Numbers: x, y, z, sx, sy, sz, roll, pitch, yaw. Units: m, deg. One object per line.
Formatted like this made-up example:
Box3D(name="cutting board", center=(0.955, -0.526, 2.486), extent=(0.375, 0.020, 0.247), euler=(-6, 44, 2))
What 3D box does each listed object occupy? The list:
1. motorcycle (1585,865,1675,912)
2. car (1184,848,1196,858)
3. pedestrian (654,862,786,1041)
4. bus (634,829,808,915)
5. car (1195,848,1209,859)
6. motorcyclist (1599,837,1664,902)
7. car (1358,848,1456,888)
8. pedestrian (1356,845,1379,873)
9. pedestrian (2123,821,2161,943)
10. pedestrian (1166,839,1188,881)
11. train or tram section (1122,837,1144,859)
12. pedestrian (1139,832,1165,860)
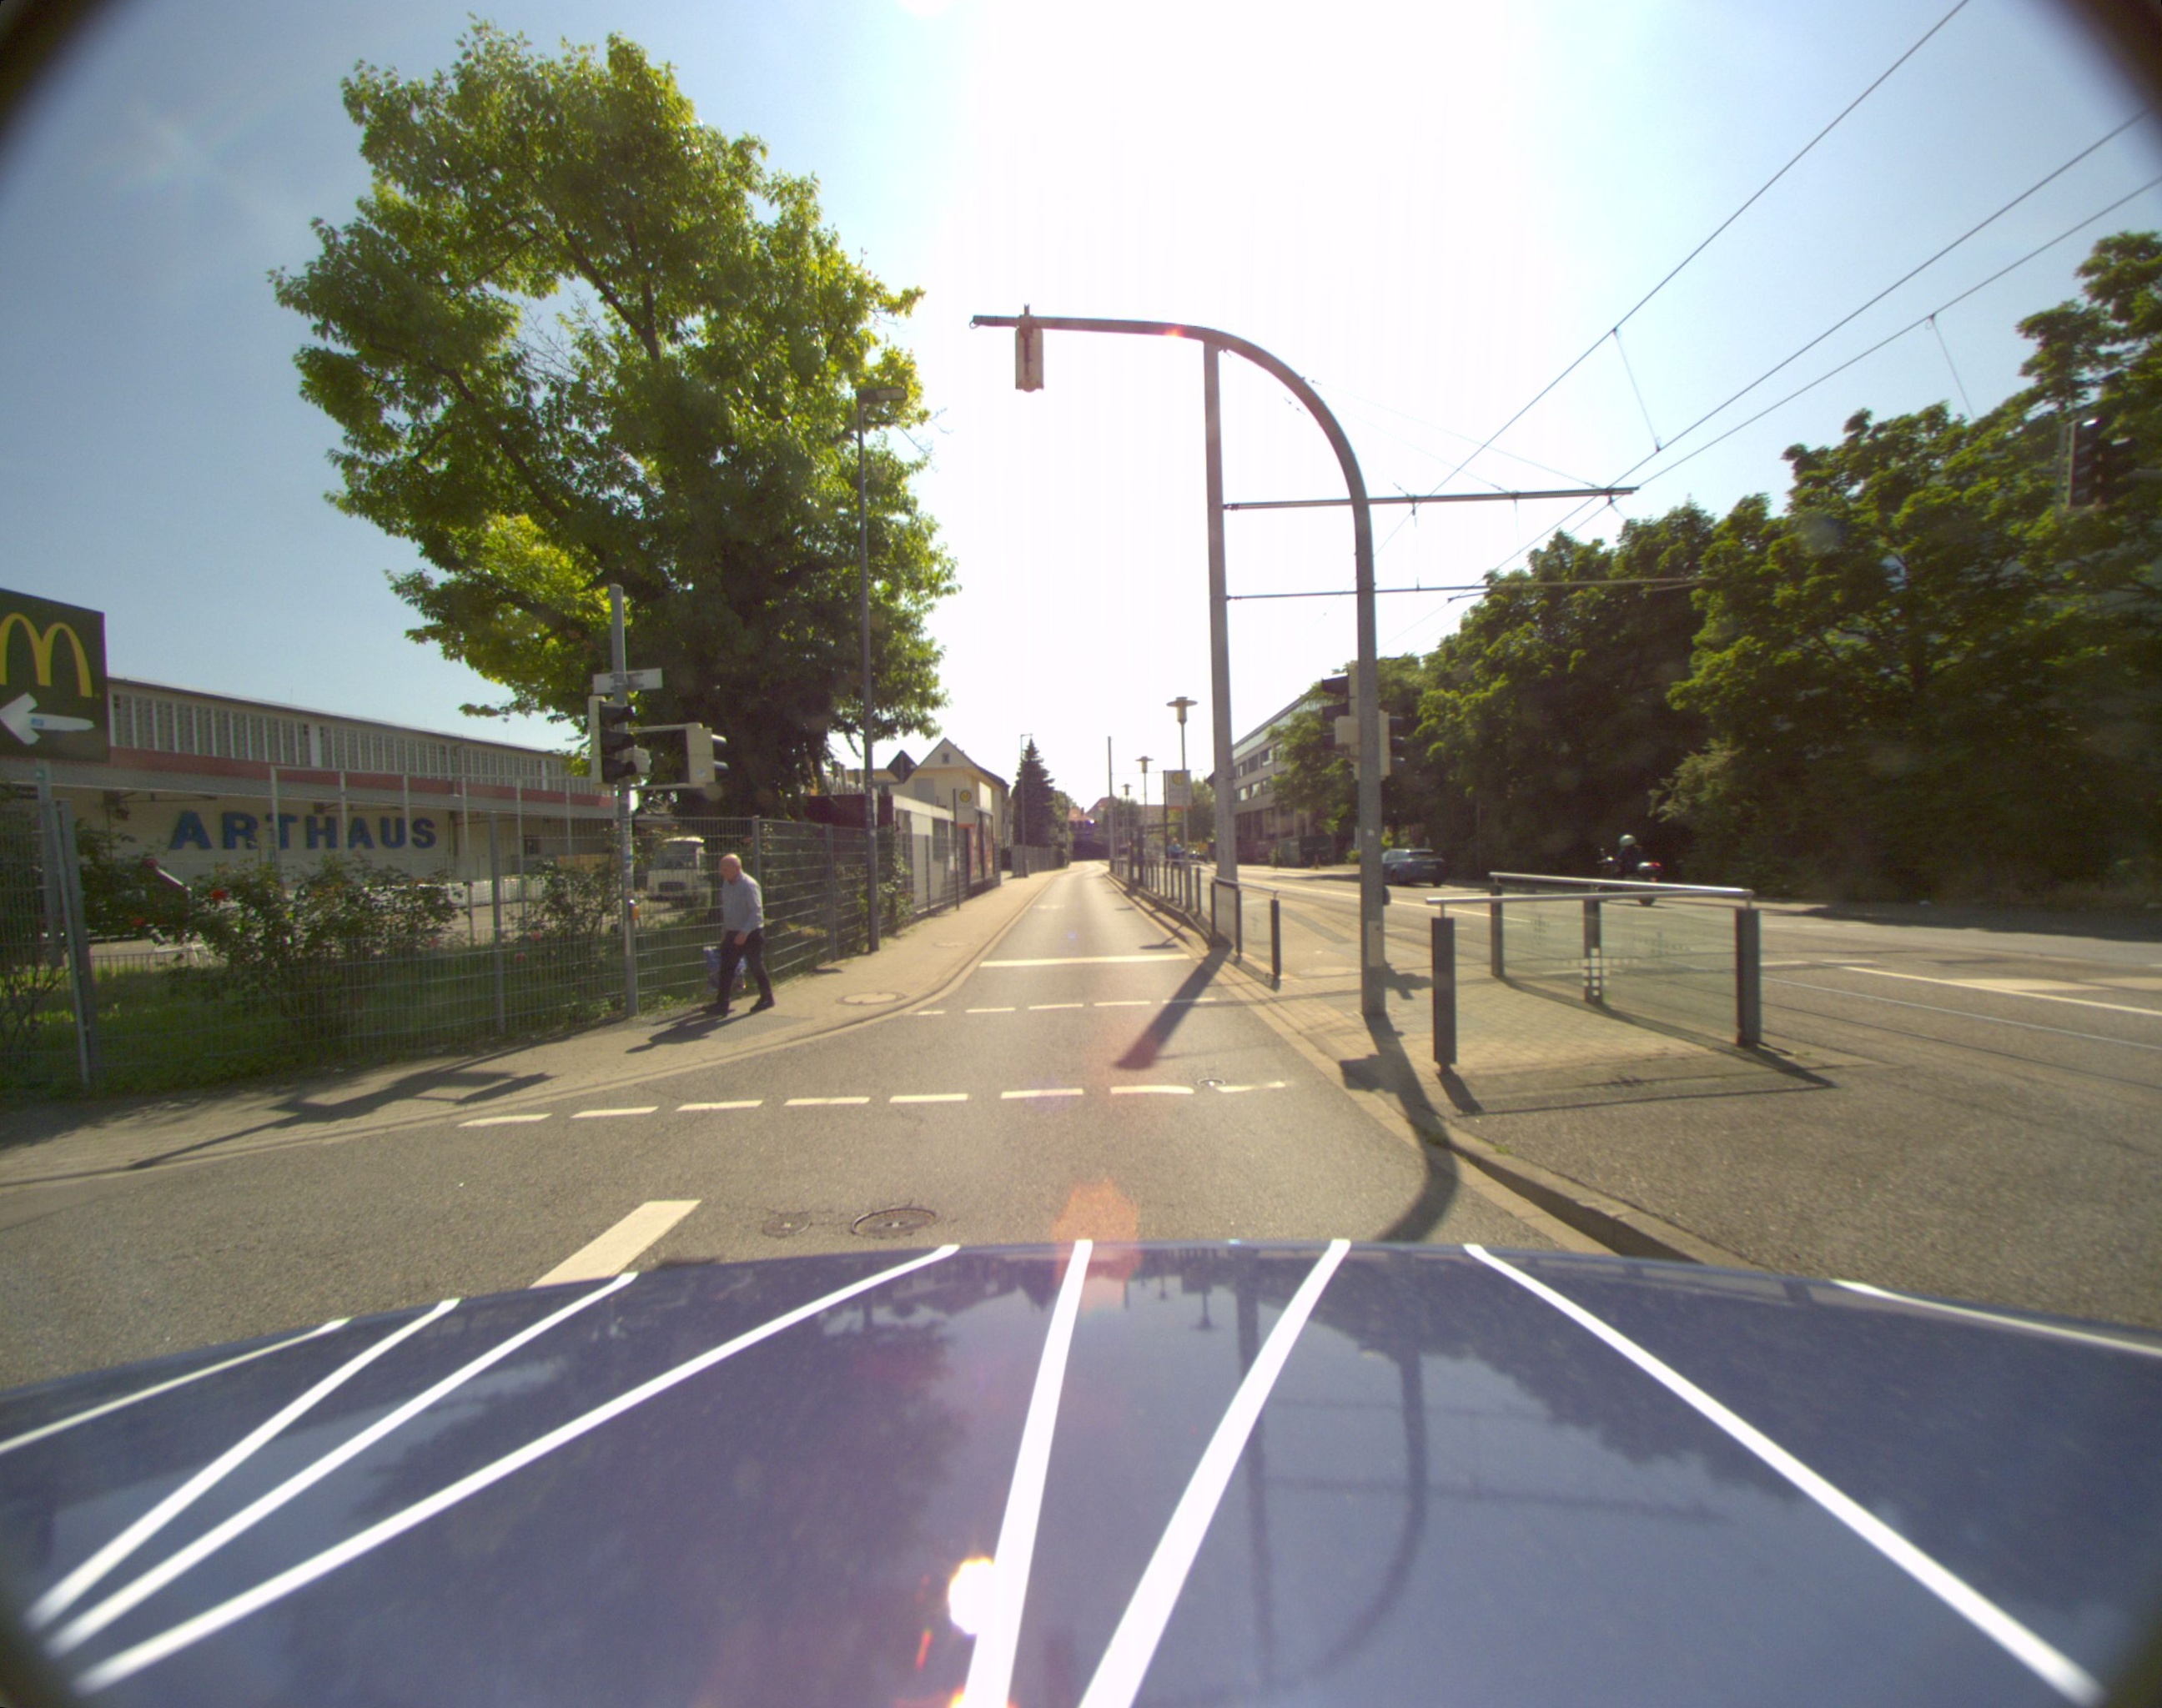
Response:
Box3D(name="motorcycle", center=(12.929, 0.792, 17.972), extent=(0.824, 1.005, 1.965), euler=(-1, 0, 5))
Box3D(name="car", center=(18.026, -0.097, 125.597), extent=(1.870, 1.608, 4.002), euler=(0, 0, 7))
Box3D(name="pedestrian", center=(-3.642, 0.934, 7.735), extent=(0.814, 1.689, 0.888), euler=(0, 1, 14))
Box3D(name="bus", center=(-15.413, 0.508, 33.774), extent=(2.572, 3.154, 10.264), euler=(-1, 2, 1))
Box3D(name="car", center=(18.748, -0.095, 118.082), extent=(1.997, 1.613, 4.002), euler=(0, 0, 7))
Box3D(name="motorcyclist", center=(12.908, 0.360, 17.848), extent=(0.837, 1.467, 0.963), euler=(-1, 1, 6))
Box3D(name="car", center=(12.756, 0.508, 30.081), extent=(1.911, 1.433, 4.595), euler=(0, 0, 0))
Box3D(name="pedestrian", center=(15.673, 0.260, 41.582), extent=(0.873, 1.518, 0.846), euler=(-2, 1, -1))
Box3D(name="pedestrian", center=(15.382, 0.359, 10.254), extent=(0.888, 1.660, 1.160), euler=(-6, 0, -1))
Box3D(name="pedestrian", center=(3.981, 0.242, 31.663), extent=(0.726, 1.714, 0.944), euler=(-2, 0, 0))
Box3D(name="train or tram section", center=(8.494, -0.952, 124.786), extent=(2.680, 3.464, 12.326), euler=(-2, 0, 0))
Box3D(name="pedestrian", center=(2.956, -0.330, 31.710), extent=(0.945, 1.093, 0.726), euler=(-2, 0, -1))
